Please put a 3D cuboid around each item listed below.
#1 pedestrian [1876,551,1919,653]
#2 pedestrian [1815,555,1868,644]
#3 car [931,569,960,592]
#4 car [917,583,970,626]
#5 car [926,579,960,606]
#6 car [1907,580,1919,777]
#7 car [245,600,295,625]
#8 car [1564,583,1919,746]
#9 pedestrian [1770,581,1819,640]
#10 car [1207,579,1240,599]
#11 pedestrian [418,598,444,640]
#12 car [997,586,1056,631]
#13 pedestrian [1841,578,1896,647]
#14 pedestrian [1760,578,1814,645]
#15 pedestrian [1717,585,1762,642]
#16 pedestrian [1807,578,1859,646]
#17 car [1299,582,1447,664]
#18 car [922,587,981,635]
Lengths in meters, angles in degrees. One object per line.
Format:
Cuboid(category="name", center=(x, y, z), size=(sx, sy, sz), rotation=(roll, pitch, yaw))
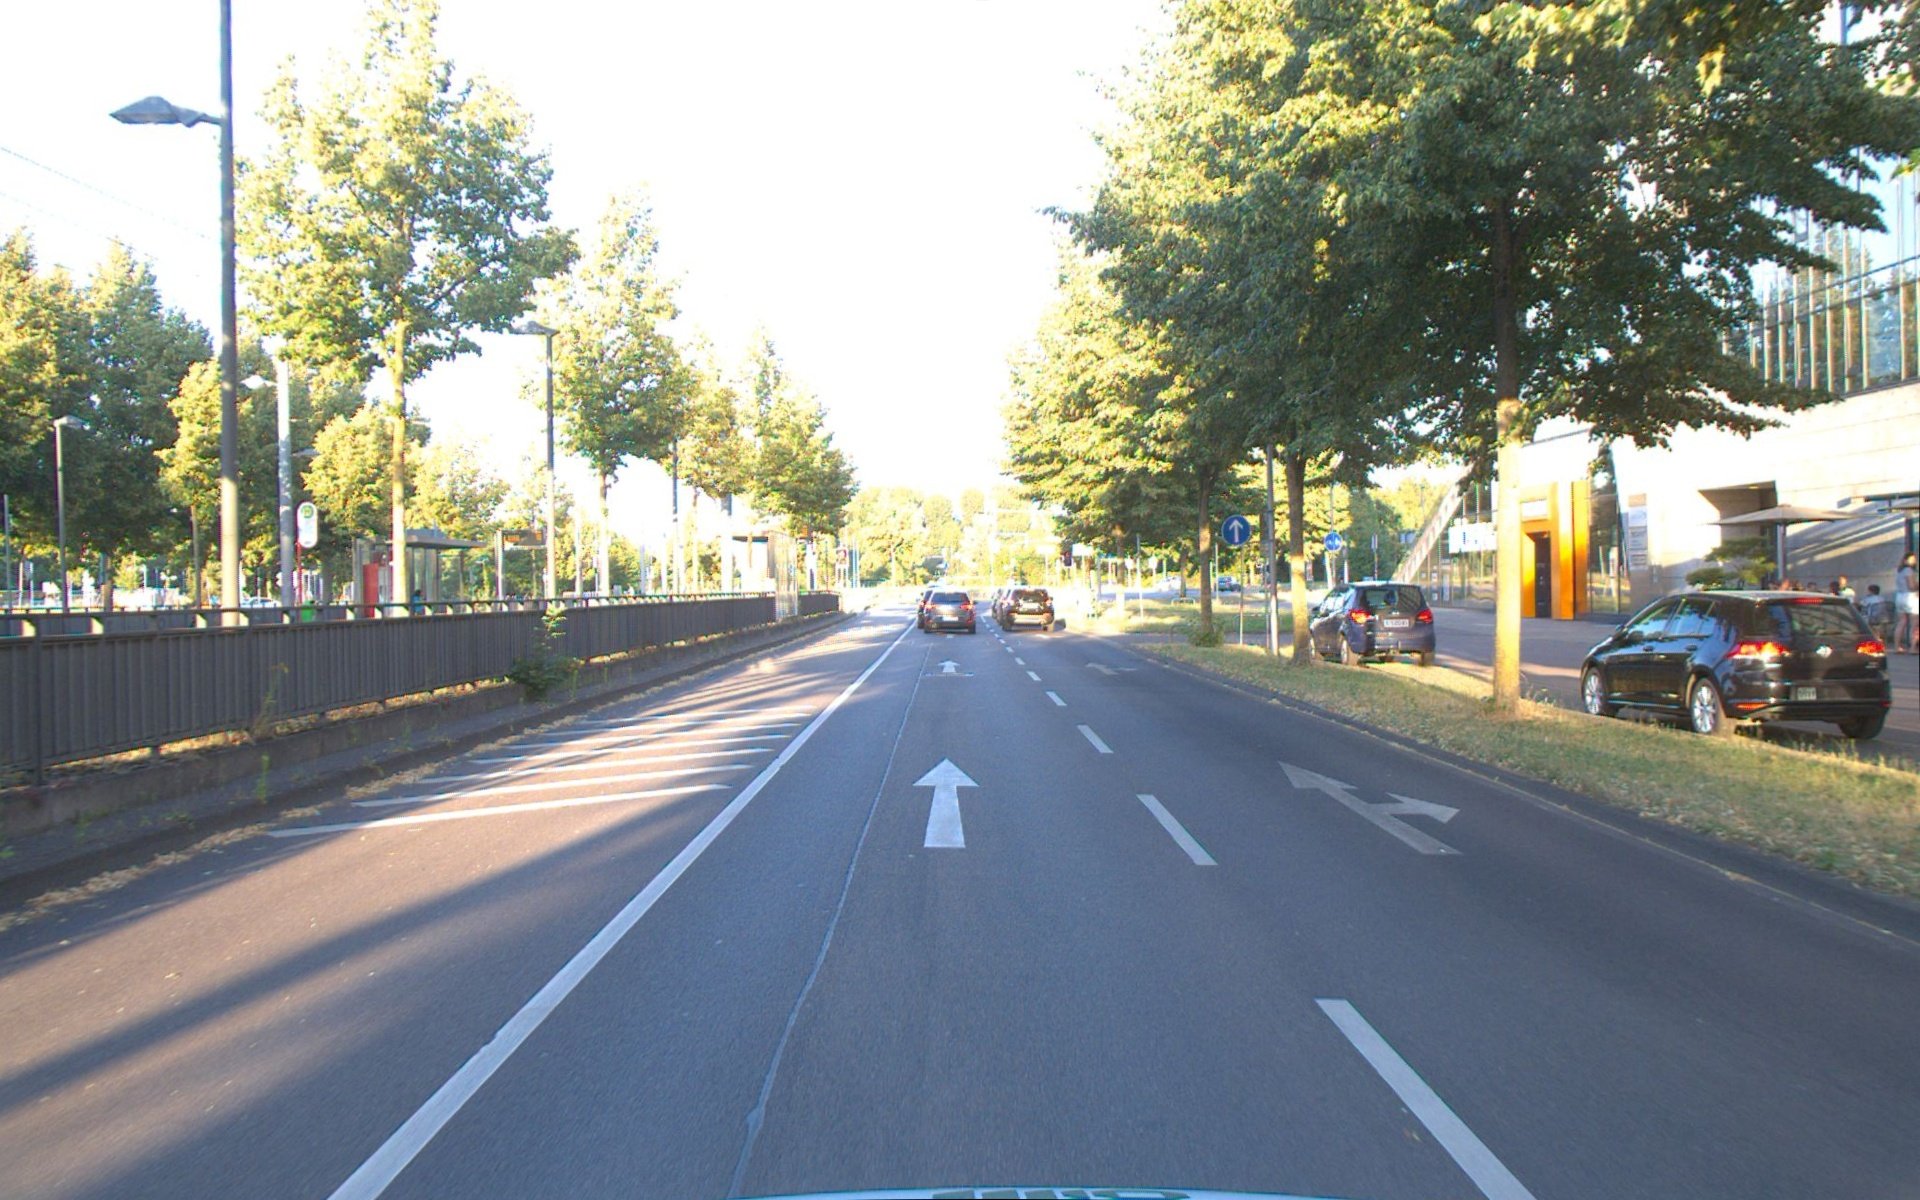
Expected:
Cuboid(category="pedestrian", center=(16.608, 0.032, 28.992), size=(0.696, 1.767, 0.682), rotation=(-1, 0, -31))
Cuboid(category="pedestrian", center=(17.620, -0.006, 33.069), size=(0.624, 1.748, 0.695), rotation=(-1, 0, -20))
Cuboid(category="car", center=(-1.000, -1.340, 112.965), size=(1.873, 1.512, 3.999), rotation=(-1, 0, -1))
Cuboid(category="car", center=(-0.623, 0.149, 61.504), size=(1.873, 1.512, 3.999), rotation=(-1, 0, -1))
Cuboid(category="car", center=(-1.014, -0.427, 96.362), size=(1.873, 1.512, 3.999), rotation=(-1, 0, -1))
Cuboid(category="car", center=(8.077, 0.601, 10.816), size=(1.543, 1.497, 3.881), rotation=(-1, 0, 0))
Cuboid(category="car", center=(-50.622, 0.900, 121.423), size=(1.953, 1.691, 4.000), rotation=(-1, 0, -1))
Cuboid(category="car", center=(8.166, 0.589, 17.637), size=(1.742, 1.497, 4.286), rotation=(-1, 0, -2))
Cuboid(category="pedestrian", center=(17.553, 0.214, 34.785), size=(0.609, 1.207, 0.712), rotation=(-1, 0, -37))
Cuboid(category="car", center=(24.149, -1.035, 151.413), size=(1.954, 1.758, 3.997), rotation=(-1, 0, 25))
Cuboid(category="pedestrian", center=(-16.984, 0.600, 53.118), size=(0.602, 1.342, 0.744), rotation=(-1, 0, -4))
Cuboid(category="car", center=(2.334, 0.280, 59.025), size=(1.873, 1.512, 3.999), rotation=(-1, 0, -1))
Cuboid(category="pedestrian", center=(17.707, 0.236, 32.237), size=(0.570, 1.305, 0.735), rotation=(-1, 0, -19))
Cuboid(category="pedestrian", center=(16.256, 0.220, 32.510), size=(0.617, 1.305, 0.712), rotation=(-1, 0, -22))
Cuboid(category="pedestrian", center=(16.871, 0.295, 35.822), size=(0.560, 1.207, 0.861), rotation=(-1, 0, 1))
Cuboid(category="pedestrian", center=(16.992, 0.231, 32.202), size=(0.567, 1.305, 0.738), rotation=(-1, 0, -4))
Cuboid(category="car", center=(8.102, 0.407, 32.798), size=(1.722, 1.491, 4.156), rotation=(-1, 0, -3))
Cuboid(category="car", center=(-0.315, 0.325, 55.177), size=(1.873, 1.512, 3.999), rotation=(-1, 0, -1))
